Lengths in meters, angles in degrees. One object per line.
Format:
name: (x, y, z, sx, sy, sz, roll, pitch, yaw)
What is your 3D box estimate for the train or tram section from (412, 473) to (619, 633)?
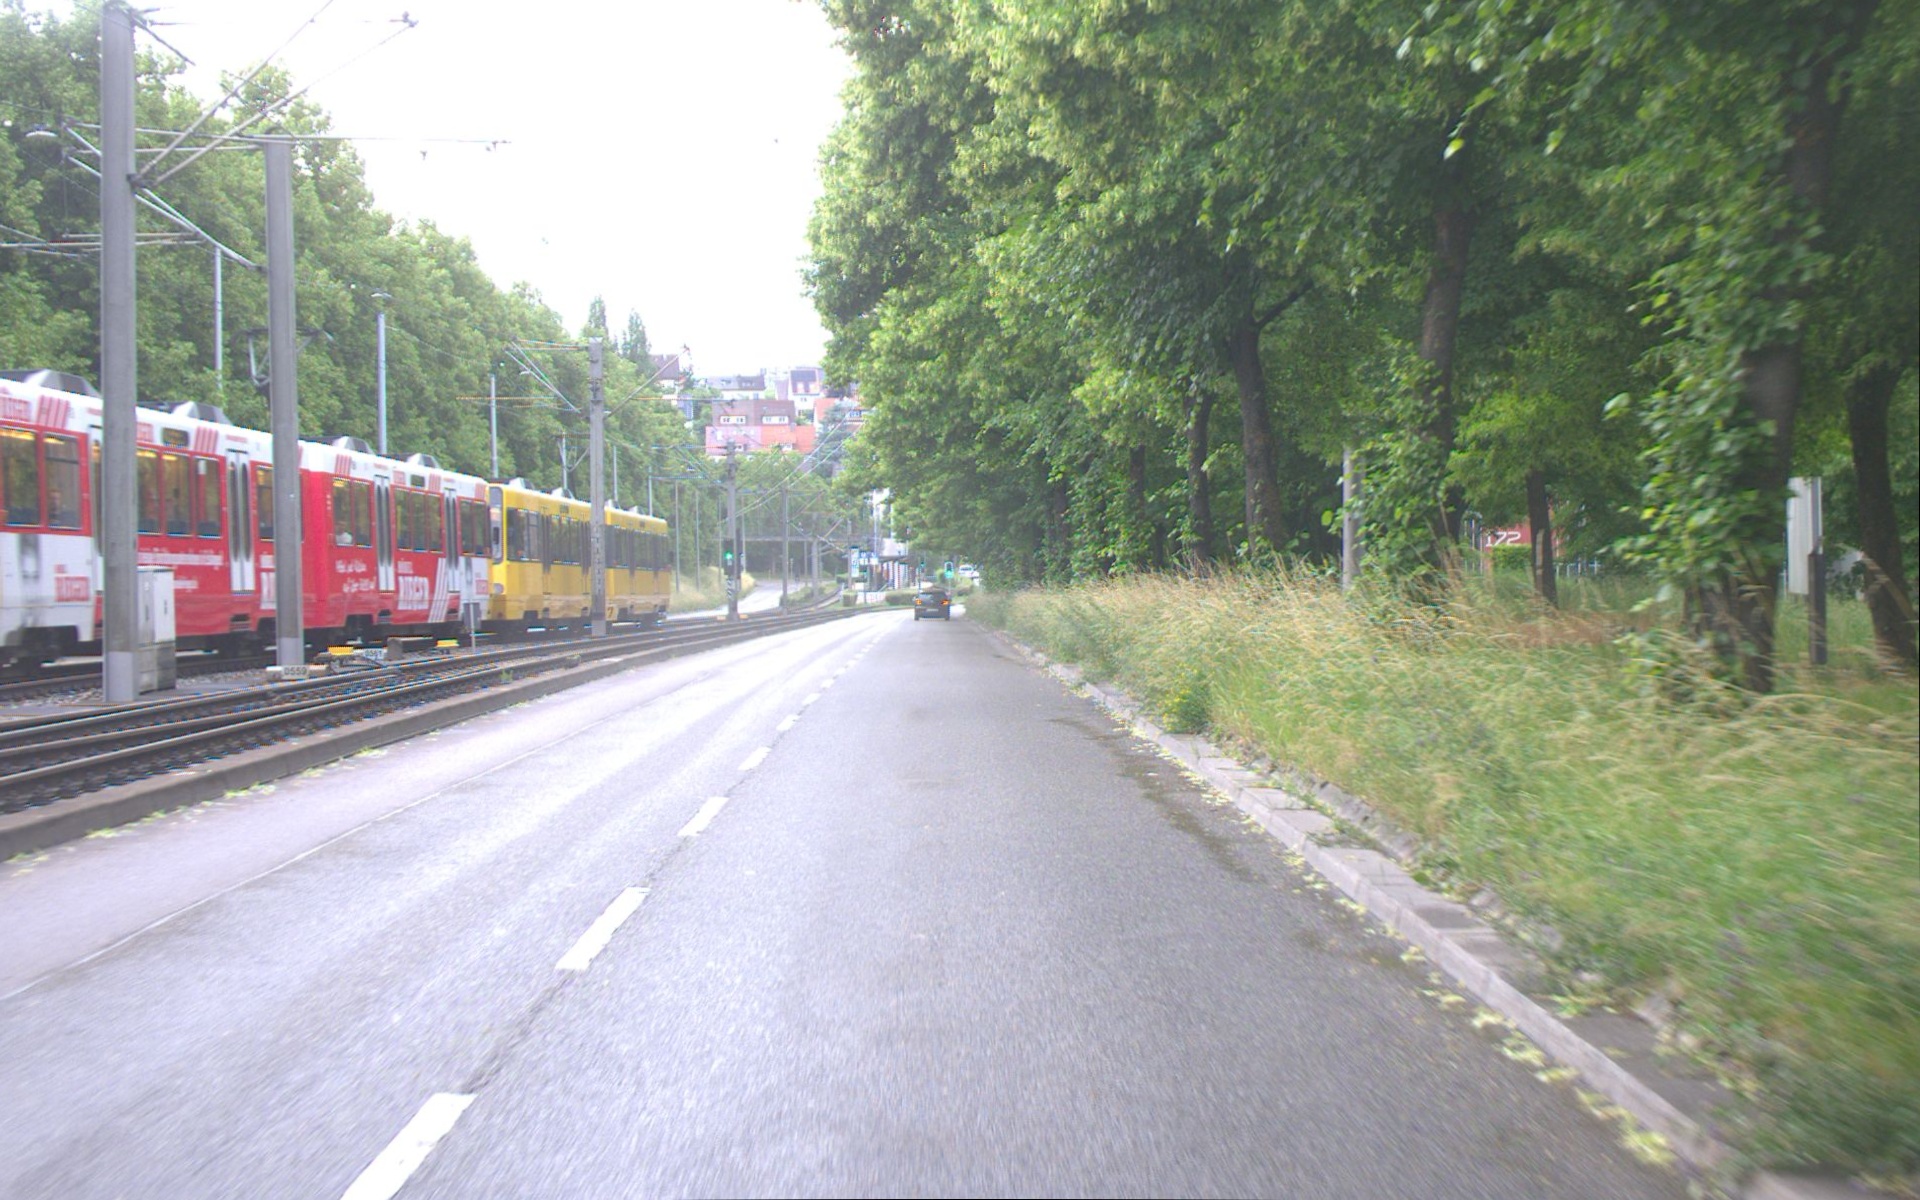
train or tram section: (-11.280, -1.135, 89.001, 3.214, 3.783, 14.789, 0, 0, 1)

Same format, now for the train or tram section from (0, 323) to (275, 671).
train or tram section: (-11.940, -1.130, 43.832, 3.214, 3.783, 14.789, 0, 0, 1)

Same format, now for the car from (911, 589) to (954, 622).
car: (-1.302, 0.249, 162.237, 1.982, 1.436, 4.474, 0, 1, 0)

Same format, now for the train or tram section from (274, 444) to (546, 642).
train or tram section: (-11.464, -1.119, 73.538, 3.214, 3.783, 14.789, 0, 0, 1)

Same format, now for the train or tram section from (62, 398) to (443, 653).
train or tram section: (-11.674, -1.128, 58.685, 3.214, 3.783, 14.789, 0, 0, 1)
